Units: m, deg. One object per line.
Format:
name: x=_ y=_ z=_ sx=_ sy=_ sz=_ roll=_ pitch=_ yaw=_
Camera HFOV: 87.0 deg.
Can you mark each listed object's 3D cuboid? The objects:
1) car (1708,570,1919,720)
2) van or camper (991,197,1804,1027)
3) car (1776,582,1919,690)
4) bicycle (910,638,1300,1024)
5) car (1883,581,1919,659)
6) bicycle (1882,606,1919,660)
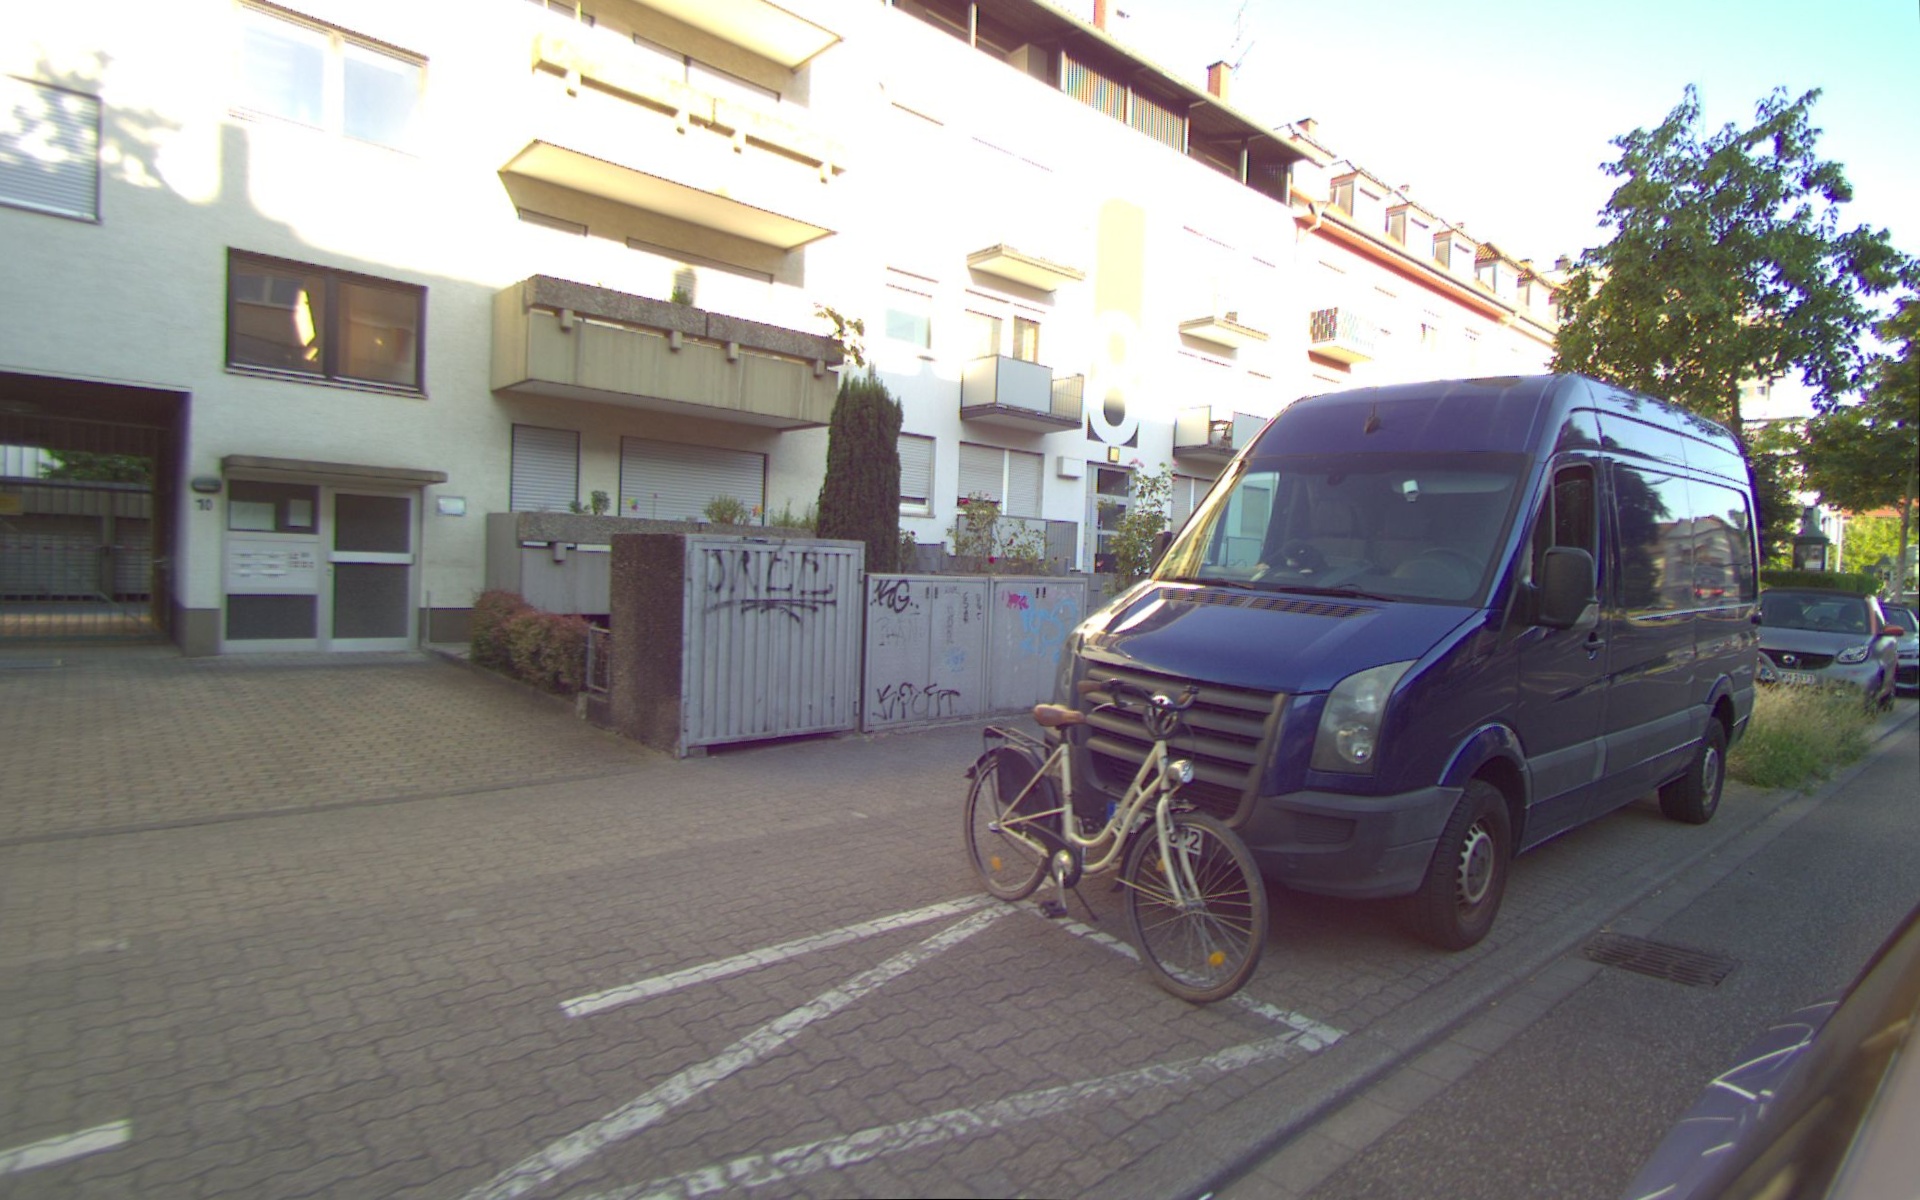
car: x=11.405 y=0.468 z=13.367 sx=3.694 sy=1.662 sz=1.775 roll=-1 pitch=3 yaw=-43
van or camper: x=3.055 y=-0.026 z=6.031 sx=5.886 sy=2.708 sz=2.072 roll=-1 pitch=3 yaw=-41
car: x=15.087 y=0.528 z=16.764 sx=4.668 sy=1.504 sz=1.922 roll=0 pitch=2 yaw=-45
bicycle: x=0.469 y=0.769 z=4.024 sx=0.397 sy=1.102 sz=1.707 roll=1 pitch=2 yaw=-38
car: x=22.693 y=0.468 z=23.237 sx=4.216 sy=1.671 sz=1.736 roll=1 pitch=2 yaw=-41
bicycle: x=19.875 y=0.692 z=20.674 sx=1.473 sy=1.072 sz=0.406 roll=3 pitch=2 yaw=37
